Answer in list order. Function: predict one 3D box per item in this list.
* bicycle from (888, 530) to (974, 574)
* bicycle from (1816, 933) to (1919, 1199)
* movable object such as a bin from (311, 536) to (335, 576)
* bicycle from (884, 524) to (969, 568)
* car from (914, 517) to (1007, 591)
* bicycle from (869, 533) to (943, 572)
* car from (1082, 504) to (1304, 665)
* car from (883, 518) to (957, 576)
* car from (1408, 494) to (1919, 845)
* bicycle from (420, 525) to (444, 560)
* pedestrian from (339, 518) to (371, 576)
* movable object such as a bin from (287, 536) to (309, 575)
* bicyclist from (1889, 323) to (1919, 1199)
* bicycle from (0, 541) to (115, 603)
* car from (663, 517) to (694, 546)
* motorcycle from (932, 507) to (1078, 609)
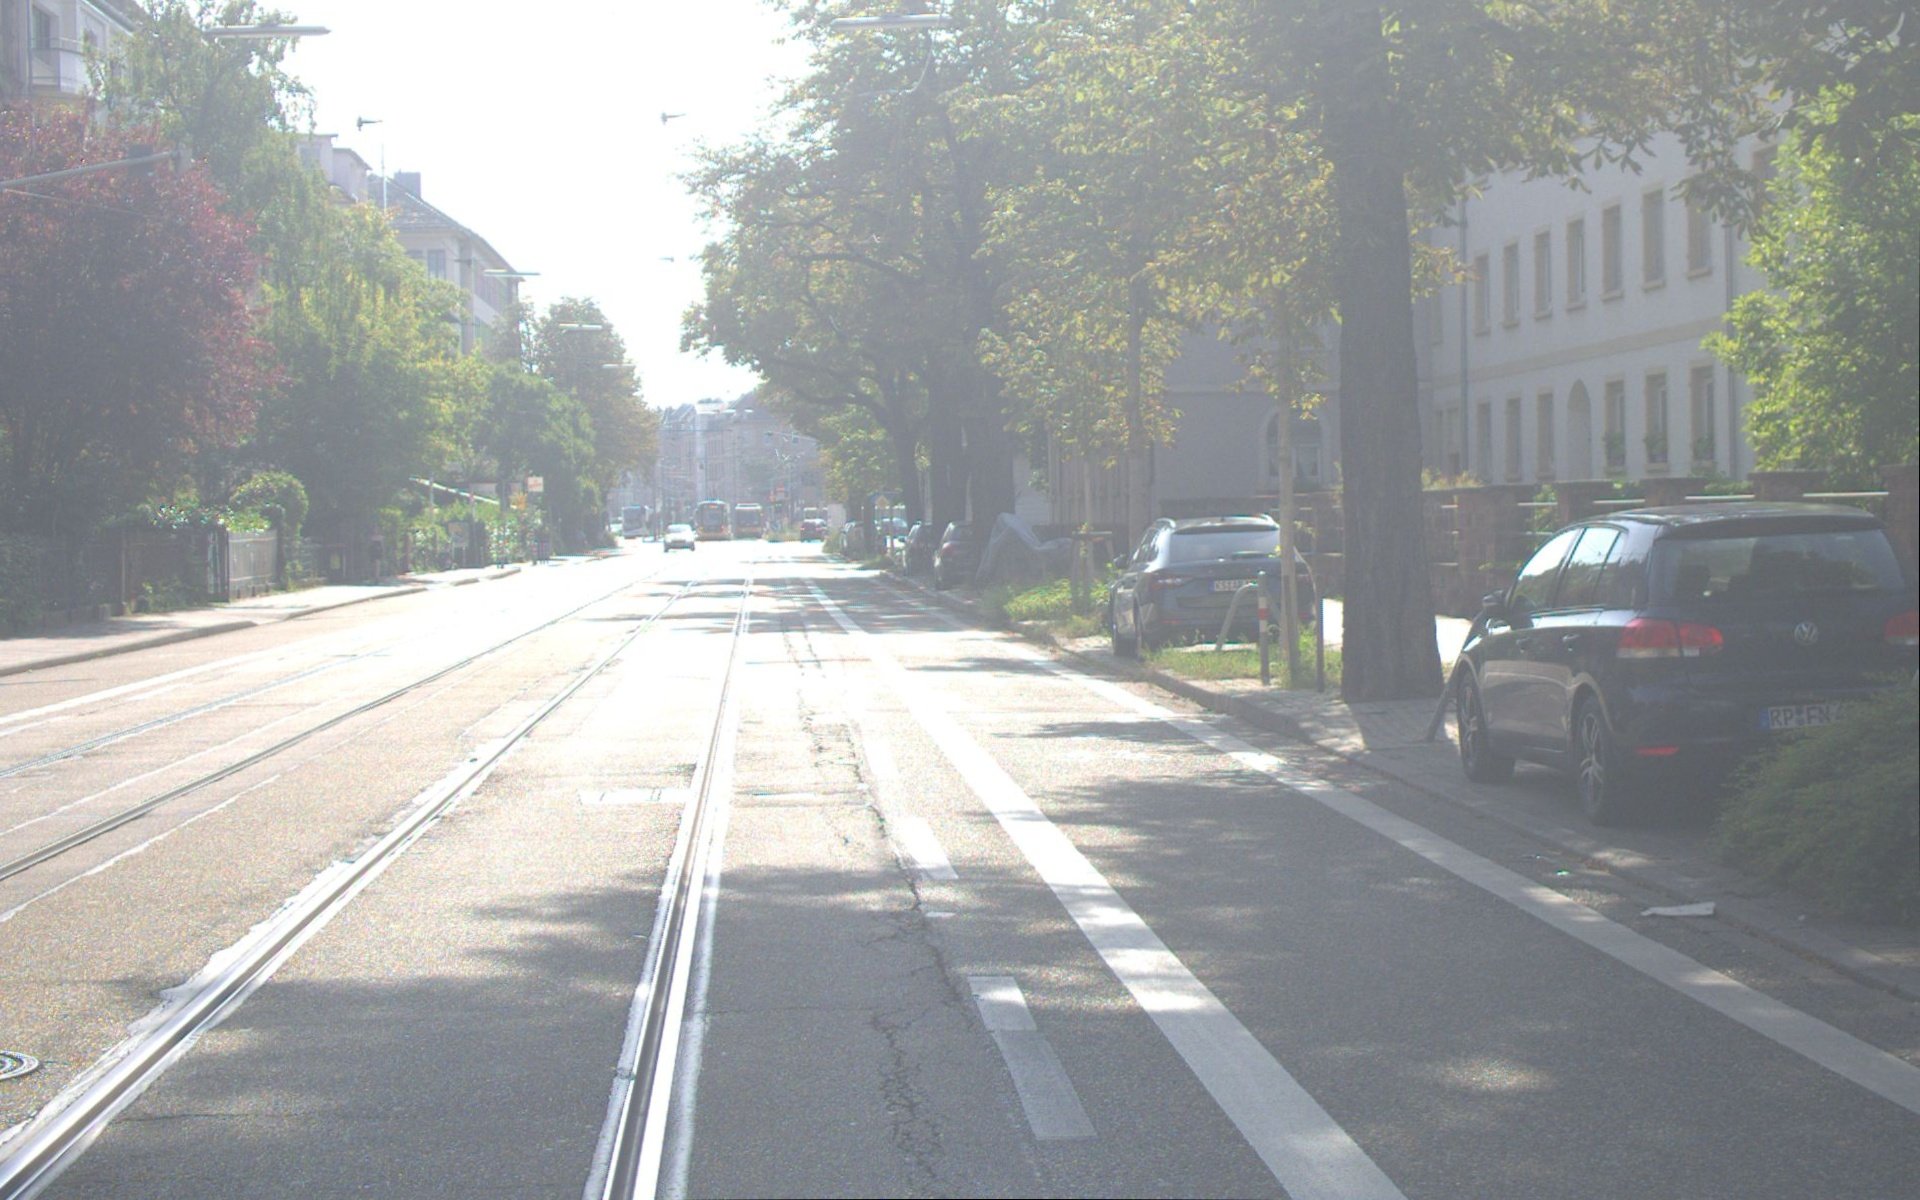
[{"bbox_3d":[-0.735,-1.215,87.278,2.106,1.101,0.563,-1,1,-10],"label":"bicycle"},{"bbox_3d":[1.587,0.951,4.162,0.626,0.906,1.525,1,1,-4],"label":"bicycle"},{"bbox_3d":[-17.600,-1.214,94.960,0.631,1.074,0.705,-1,1,-10],"label":"movable object such as a bin"},{"bbox_3d":[-0.864,-1.382,87.789,2.106,1.101,0.563,-1,1,-10],"label":"bicycle"},{"bbox_3d":[-0.011,-1.004,74.453,1.726,1.499,3.985,-2,1,-4],"label":"car"},{"bbox_3d":[-1.602,-1.411,101.914,2.106,1.101,0.616,-2,1,-4],"label":"bicycle"},{"bbox_3d":[2.377,-0.200,36.108,1.743,1.555,4.720,-1,1,-3],"label":"car"},{"bbox_3d":[-1.084,-1.395,91.445,1.771,1.468,3.974,-1,1,-3],"label":"car"},{"bbox_3d":[3.544,0.267,17.403,1.689,1.497,4.097,-3,1,-4],"label":"car"},{"bbox_3d":[-18.674,-2.038,121.601,0.561,1.217,2.114,0,1,-2],"label":"bicycle"},{"bbox_3d":[-16.833,-1.478,95.712,0.752,1.586,0.878,0,1,-3],"label":"pedestrian"},{"bbox_3d":[-18.264,-1.225,94.851,0.589,1.074,0.705,-1,1,-10],"label":"movable object such as a bin"},{"bbox_3d":[1.604,0.347,4.161,0.626,1.396,0.929,1,1,-4],"label":"bicyclist"},{"bbox_3d":[-16.456,-0.513,62.563,2.015,1.100,0.588,-1,1,-6],"label":"bicycle"},{"bbox_3d":[-16.411,-3.993,200.531,1.726,1.632,3.985,-1,1,-4],"label":"car"},{"bbox_3d":[0.756,-0.711,58.682,2.418,1.668,0.912,-1,2,41],"label":"motorcycle"}]
